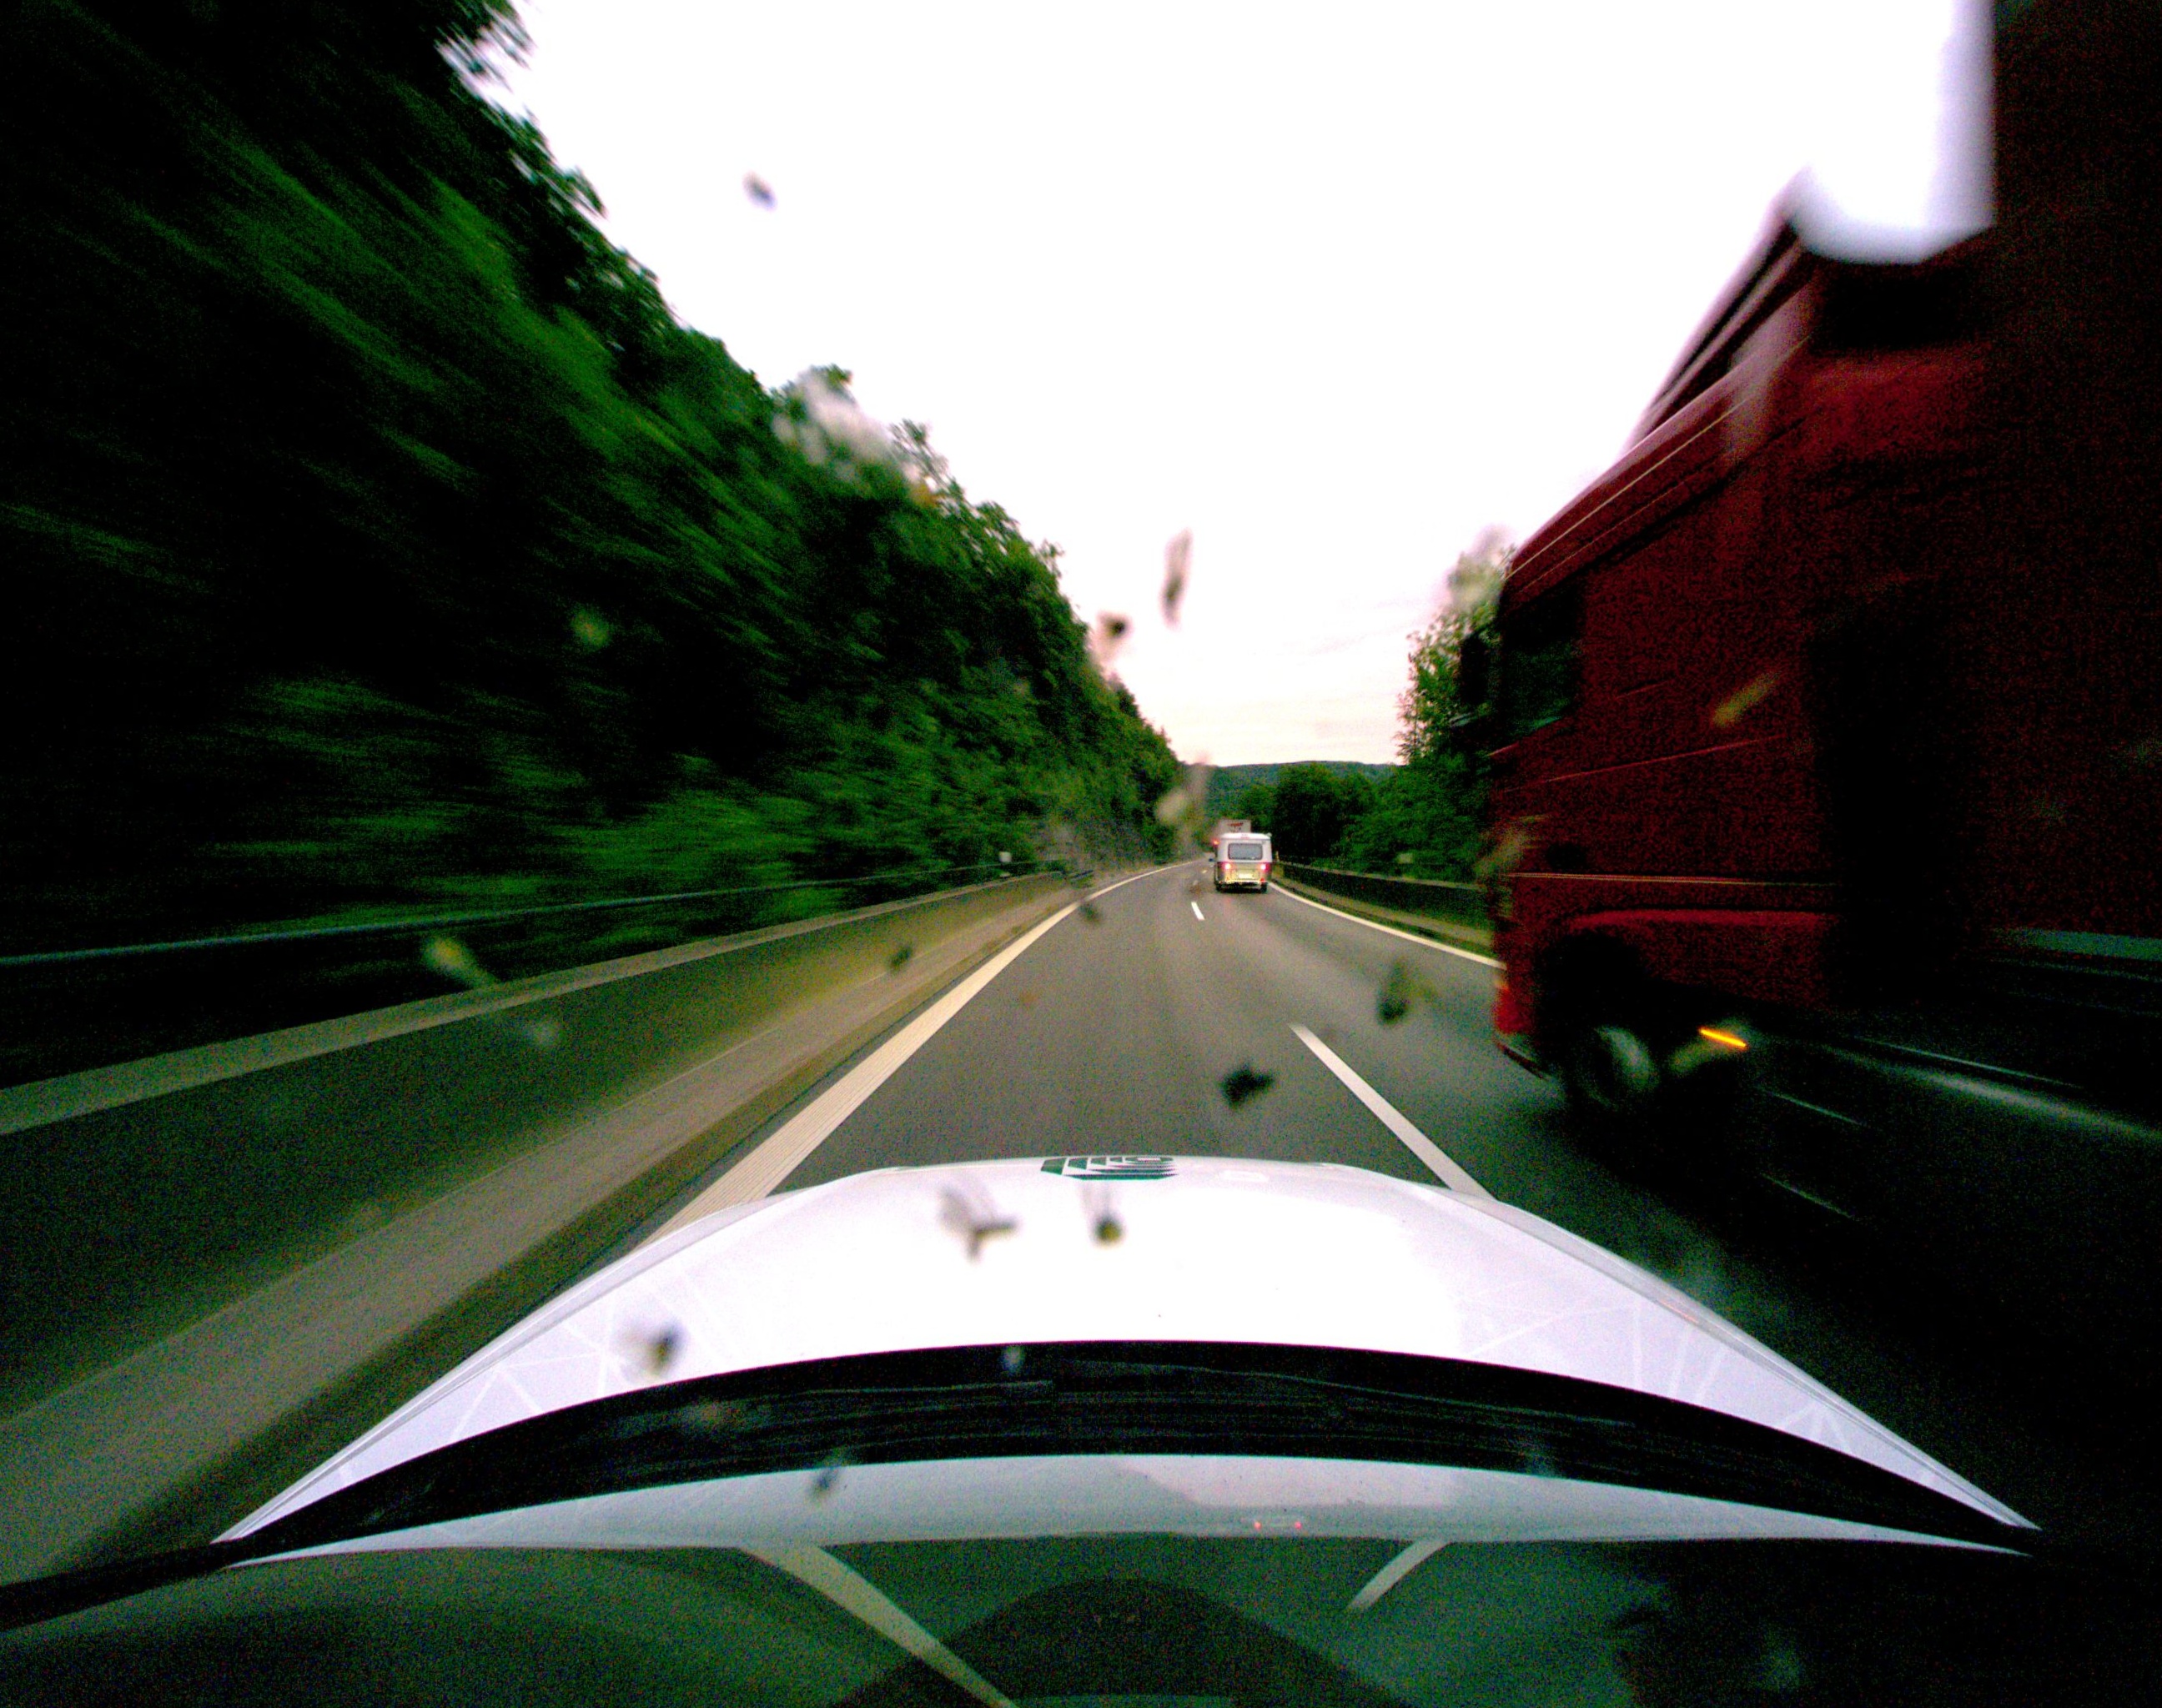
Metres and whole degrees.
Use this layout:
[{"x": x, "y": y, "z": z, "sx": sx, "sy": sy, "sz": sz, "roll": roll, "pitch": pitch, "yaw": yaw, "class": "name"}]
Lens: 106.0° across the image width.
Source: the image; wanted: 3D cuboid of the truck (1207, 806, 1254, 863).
[{"x": 13.206, "y": -1.538, "z": 71.856, "sx": 3.274, "sy": 4.173, "sz": 16.550, "roll": -5, "pitch": -1, "yaw": 10, "class": "truck"}]

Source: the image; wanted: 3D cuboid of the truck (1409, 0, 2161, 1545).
[{"x": 3.786, "y": -0.634, "z": 2.367, "sx": 3.059, "sy": 4.145, "sz": 6.447, "roll": -1, "pitch": -1, "yaw": 0, "class": "truck"}]

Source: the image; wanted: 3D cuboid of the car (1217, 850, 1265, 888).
[{"x": 7.392, "y": 0.642, "z": 37.760, "sx": 1.981, "sy": 1.614, "sz": 4.879, "roll": 2, "pitch": 0, "yaw": 10, "class": "car"}]

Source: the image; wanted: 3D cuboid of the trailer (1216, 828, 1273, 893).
[{"x": 6.534, "y": 0.237, "z": 32.788, "sx": 2.042, "sy": 2.375, "sz": 5.955, "roll": 0, "pitch": 0, "yaw": 11, "class": "trailer"}]
